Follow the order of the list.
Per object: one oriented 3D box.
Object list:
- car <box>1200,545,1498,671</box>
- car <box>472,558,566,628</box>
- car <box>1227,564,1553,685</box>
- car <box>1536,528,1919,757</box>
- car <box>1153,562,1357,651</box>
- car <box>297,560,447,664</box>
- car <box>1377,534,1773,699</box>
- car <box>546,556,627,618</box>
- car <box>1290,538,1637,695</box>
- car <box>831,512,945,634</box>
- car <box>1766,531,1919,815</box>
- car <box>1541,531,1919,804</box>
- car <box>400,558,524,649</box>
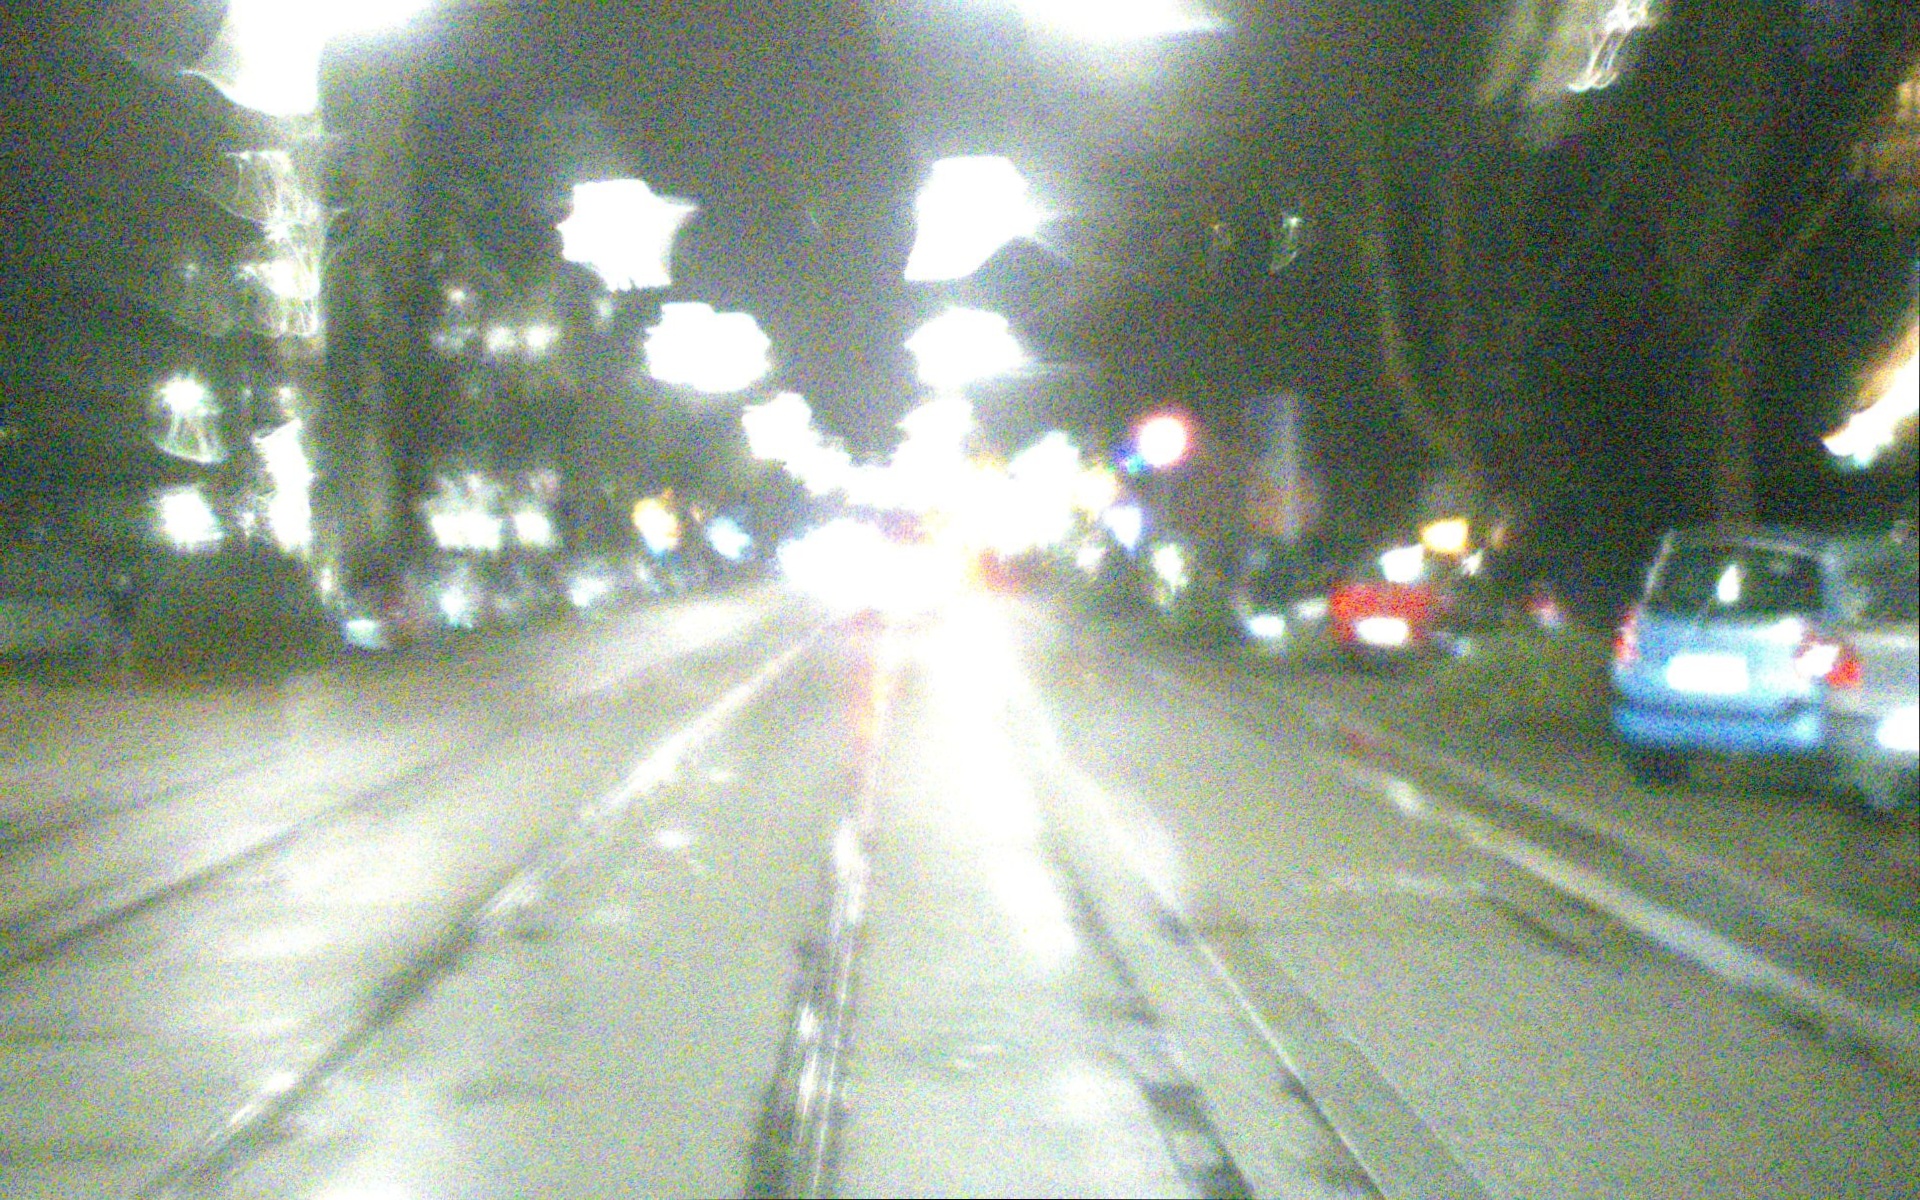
[{"bbox_3d":[5.569,0.104,48.892,2.029,1.692,4.237,2,1,44],"label":"car"},{"bbox_3d":[-11.545,-0.186,90.215,2.022,1.755,4.000,2,0,-1],"label":"car"},{"bbox_3d":[5.572,0.303,44.224,4.237,1.449,1.950,0,1,-45],"label":"car"},{"bbox_3d":[6.062,0.287,25.780,1.702,1.528,3.743,4,2,40],"label":"car"},{"bbox_3d":[5.505,0.114,63.916,1.909,1.567,3.953,2,1,38],"label":"car"},{"bbox_3d":[-10.620,0.199,62.426,2.108,1.758,4.966,2,0,-4],"label":"car"},{"bbox_3d":[5.770,0.122,32.036,3.818,1.425,1.636,0,1,-42],"label":"car"},{"bbox_3d":[-11.058,-0.388,101.945,2.022,1.755,4.000,2,0,-1],"label":"car"},{"bbox_3d":[5.631,0.168,38.204,2.054,1.618,3.819,2,1,41],"label":"car"},{"bbox_3d":[-1.537,-0.573,71.496,2.216,2.433,5.385,0,1,-3],"label":"car"},{"bbox_3d":[6.220,0.383,18.756,1.820,1.428,3.846,2,1,44],"label":"car"},{"bbox_3d":[5.571,0.360,21.400,3.878,1.528,1.821,0,1,-42],"label":"car"},{"bbox_3d":[-10.230,0.069,70.835,1.999,1.779,4.000,2,0,-1],"label":"car"}]
